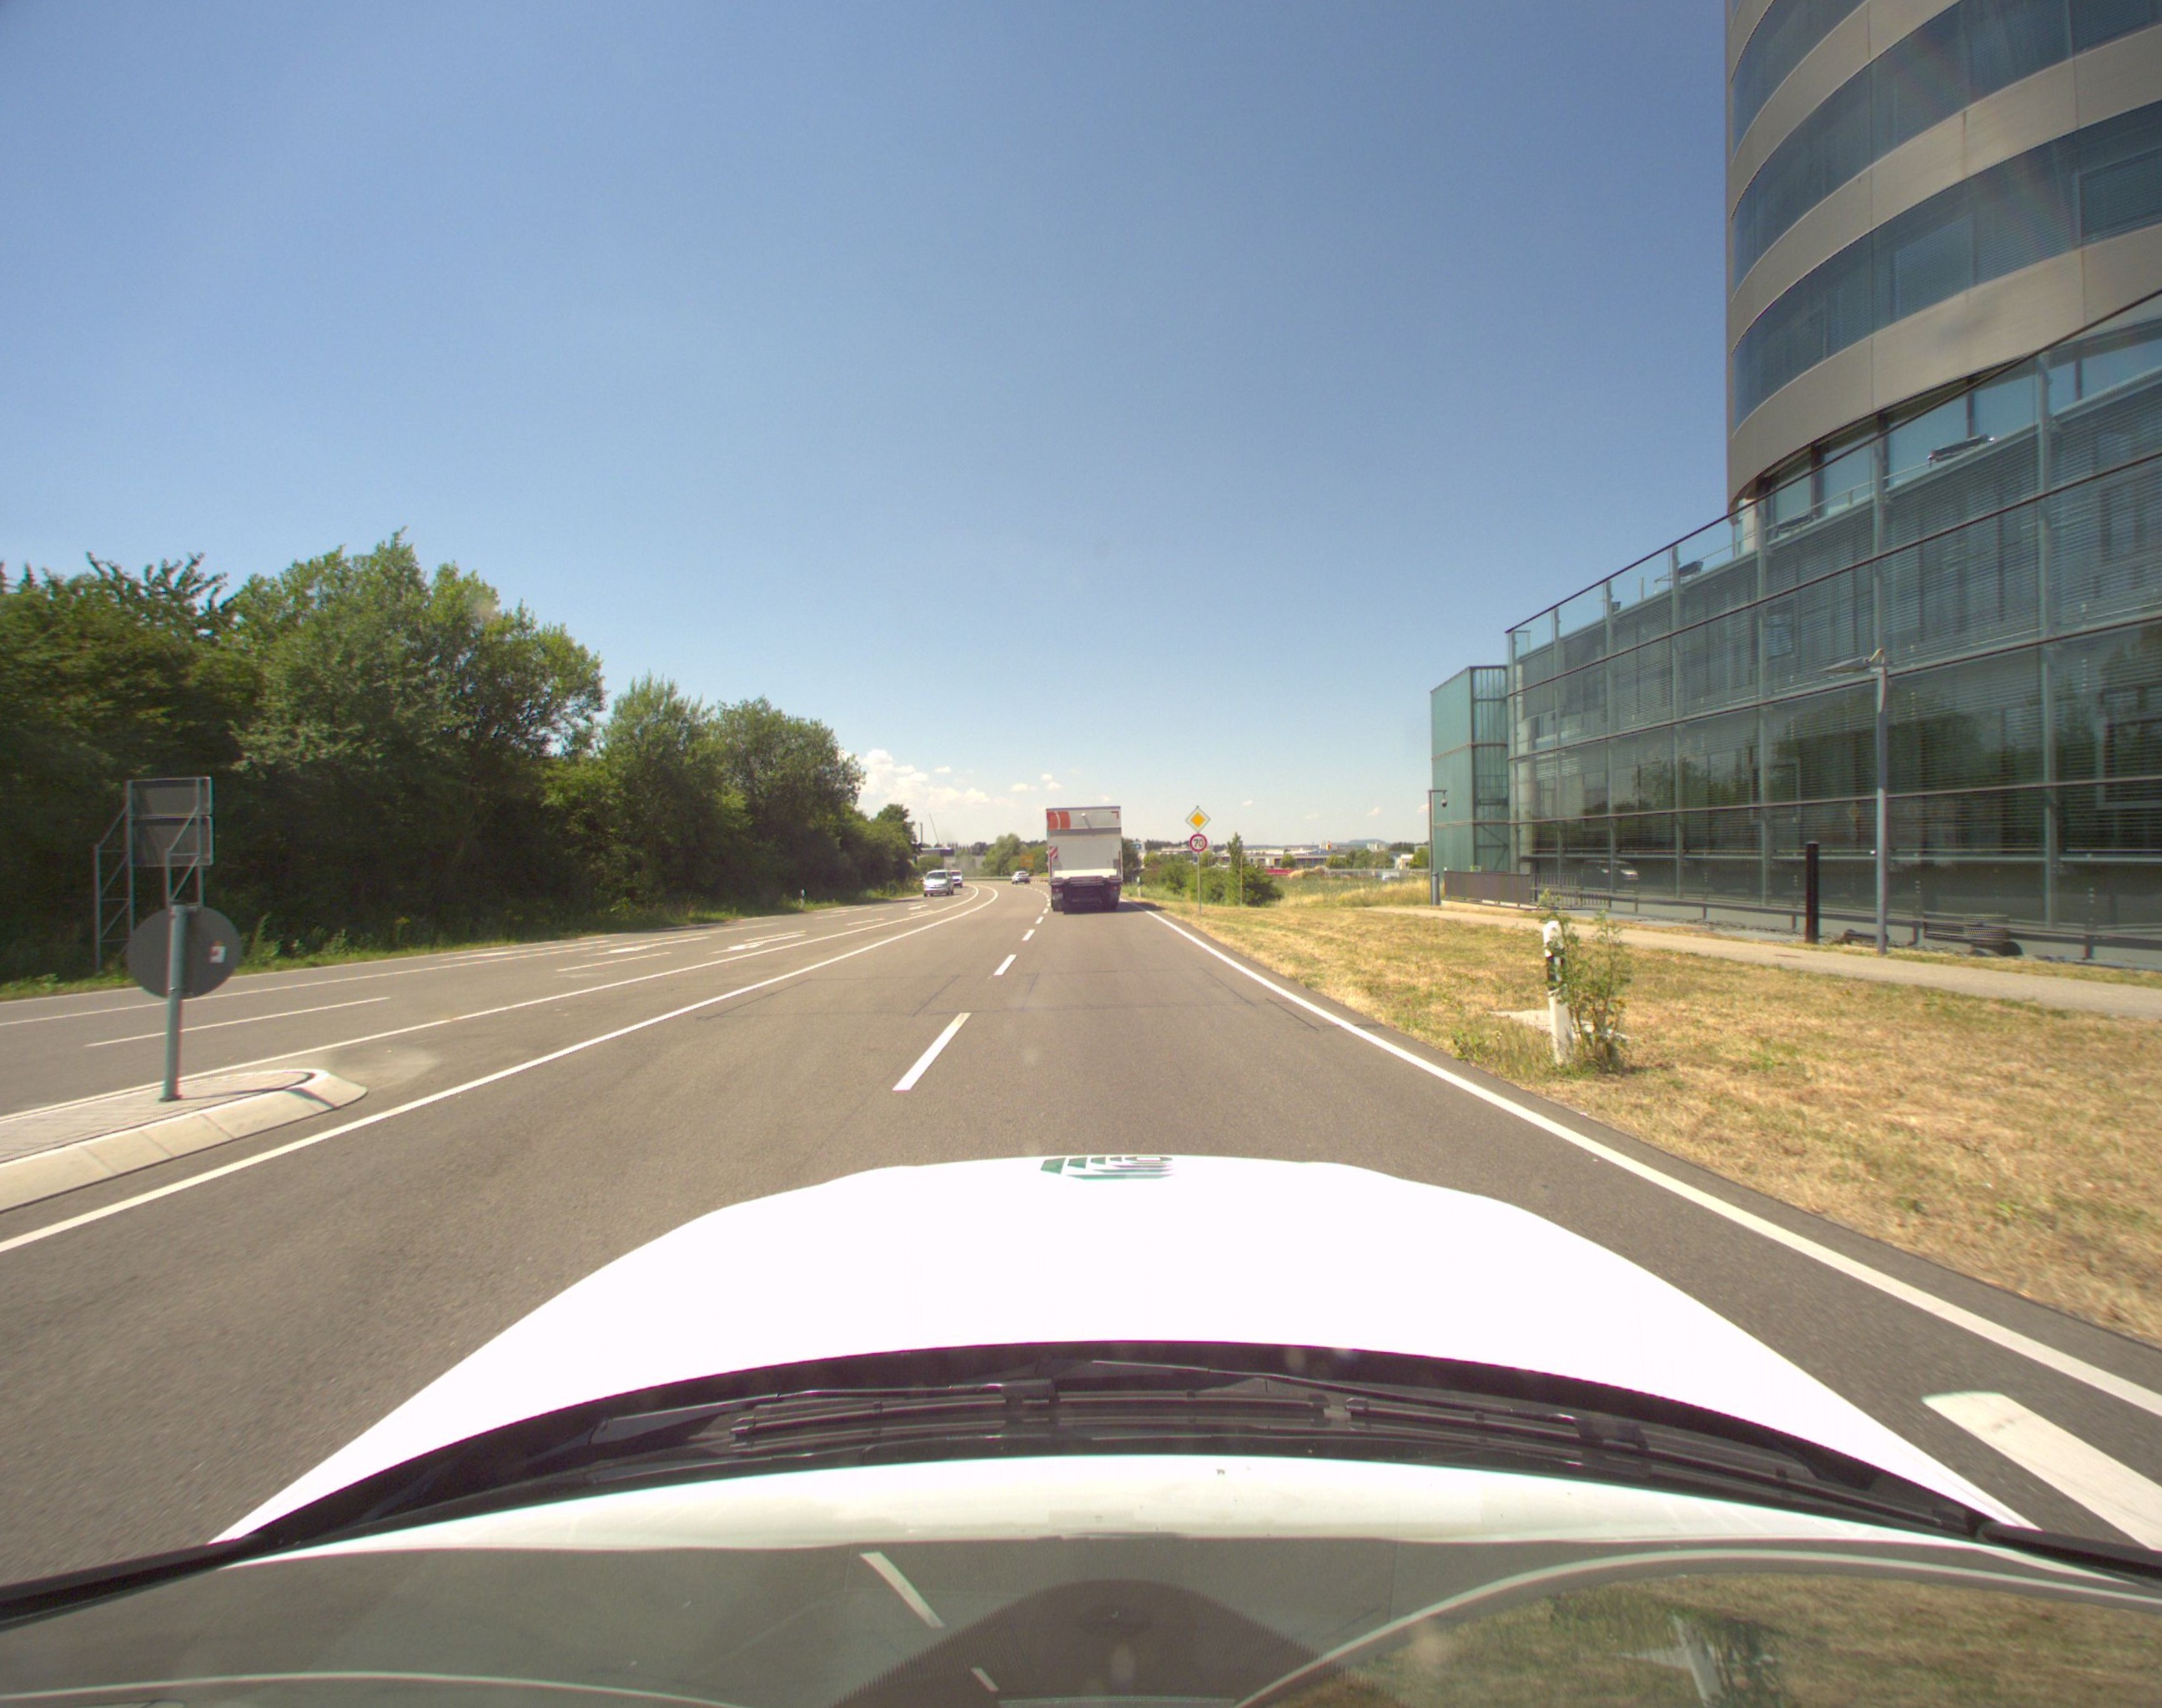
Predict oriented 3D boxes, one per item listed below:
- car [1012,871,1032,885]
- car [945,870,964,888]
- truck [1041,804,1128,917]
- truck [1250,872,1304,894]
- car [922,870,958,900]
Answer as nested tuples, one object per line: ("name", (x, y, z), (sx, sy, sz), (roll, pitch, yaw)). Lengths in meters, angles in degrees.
("car", (-7.119, 2.937, 98.358), (1.945, 1.665, 3.983), (1, -3, -12))
("car", (-14.299, 2.812, 92.487), (2.075, 2.014, 5.789), (-1, -1, -8))
("truck", (0.223, 0.306, 31.658), (2.793, 3.711, 9.108), (-2, -1, 1))
("truck", (36.202, 5.346, 150.617), (9.300, 3.684, 3.150), (0, 0, 28))
("car", (-10.524, 2.308, 61.273), (1.969, 2.013, 4.836), (1, 0, -2))
